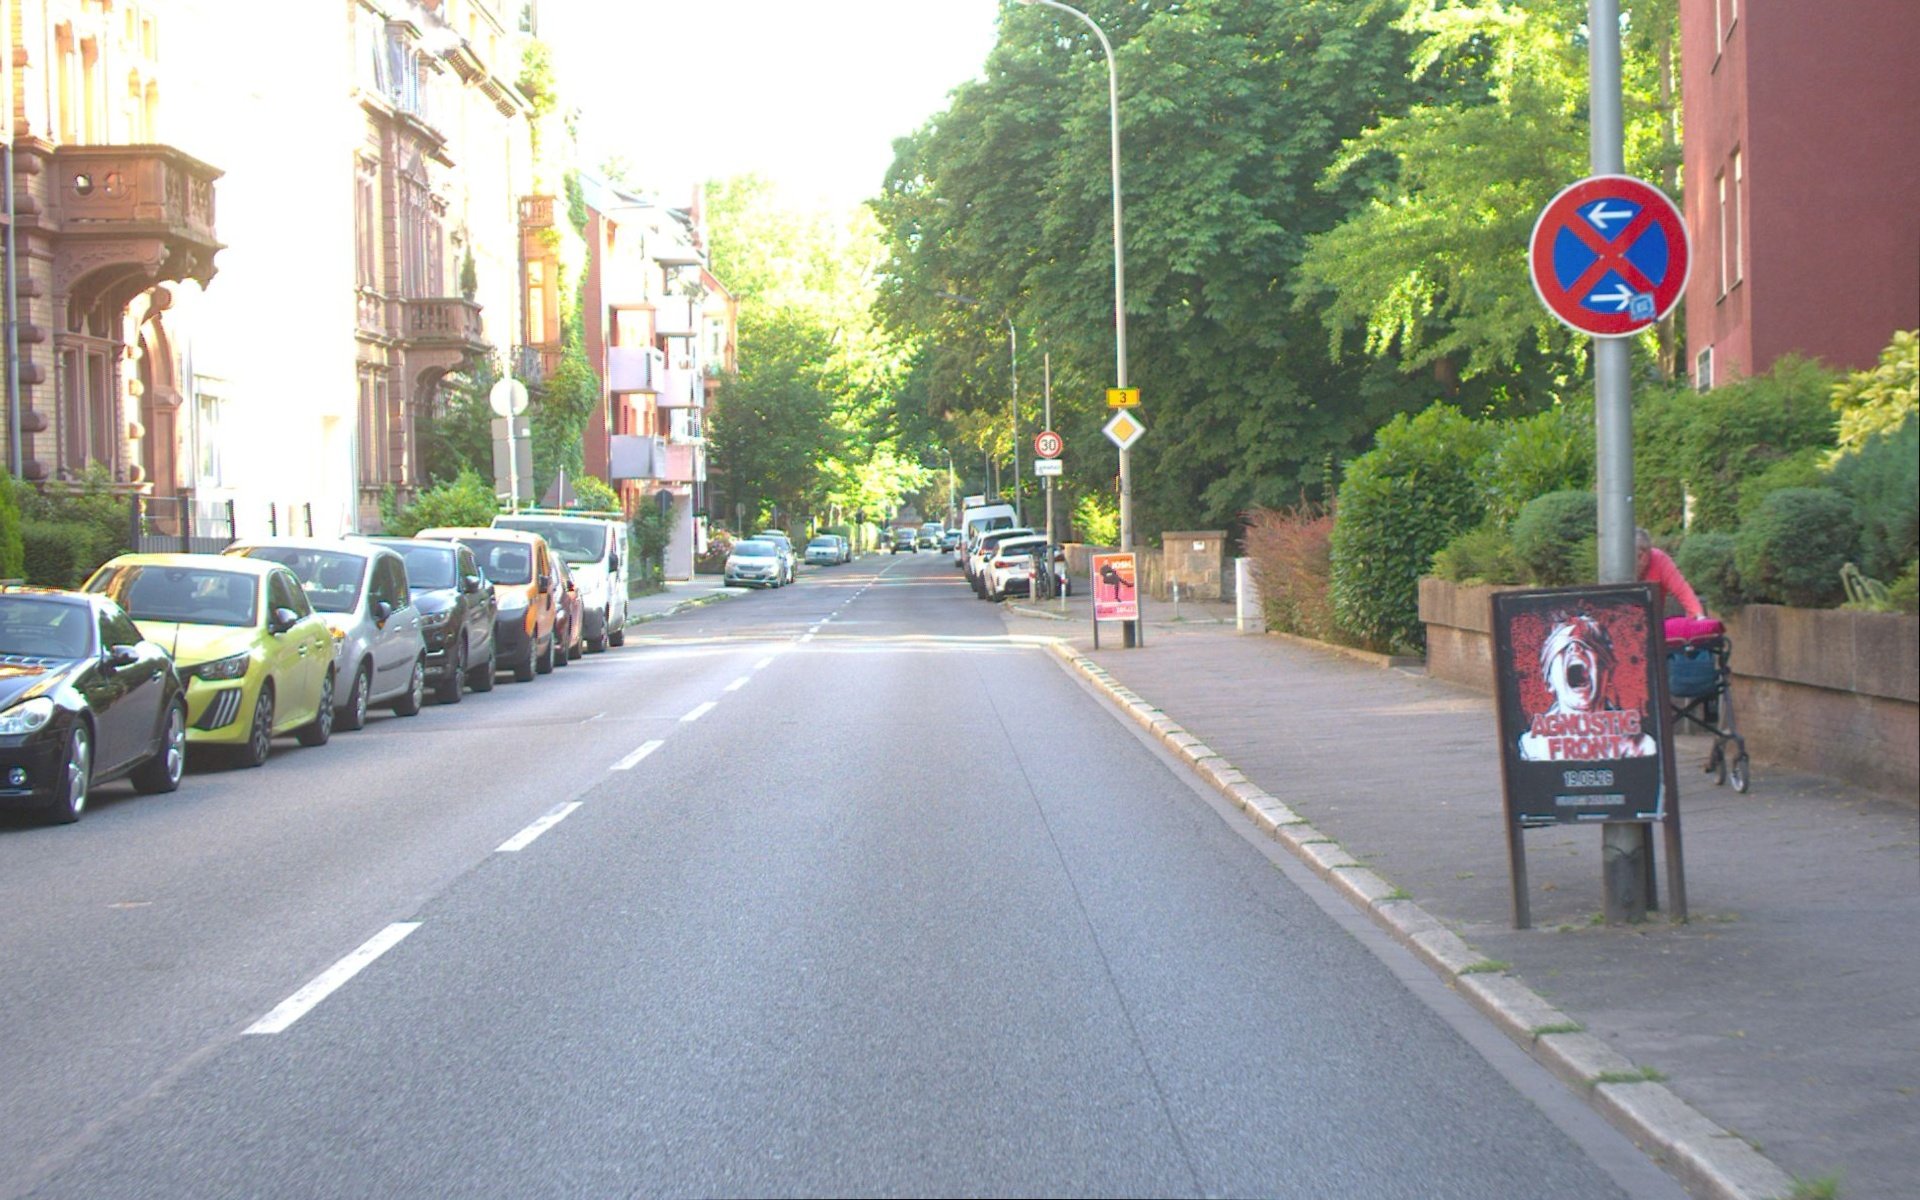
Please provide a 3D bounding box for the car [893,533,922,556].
[{"bbox_3d":[-3.659,-3.884,239.732,1.993,1.486,4.471,-2,2,-1],"label":"car"}]

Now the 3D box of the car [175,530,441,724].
[{"bbox_3d":[-5.670,0.184,30.256,1.702,1.578,3.635,0,1,-1],"label":"car"}]

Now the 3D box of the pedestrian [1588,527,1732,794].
[{"bbox_3d":[3.760,0.311,18.494,0.597,1.398,0.668,0,2,-2],"label":"pedestrian"}]

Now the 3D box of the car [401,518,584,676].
[{"bbox_3d":[-5.393,-0.081,40.014,1.702,1.732,3.857,0,1,-2],"label":"car"}]

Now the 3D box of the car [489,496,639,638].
[{"bbox_3d":[-5.810,-0.523,50.878,1.792,2.003,4.698,0,1,-2],"label":"car"}]

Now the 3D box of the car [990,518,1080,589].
[{"bbox_3d":[1.730,-1.103,79.879,1.993,1.512,4.000,-2,2,1],"label":"car"}]

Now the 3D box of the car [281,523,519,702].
[{"bbox_3d":[-5.667,0.071,35.276,1.702,1.702,4.441,0,1,0],"label":"car"}]

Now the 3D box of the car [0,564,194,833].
[{"bbox_3d":[-5.716,0.501,20.121,1.702,1.362,3.860,0,1,-2],"label":"car"}]

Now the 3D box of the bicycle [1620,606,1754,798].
[{"bbox_3d":[3.783,0.527,17.904,0.566,0.967,0.492,0,2,-2],"label":"bicycle"}]

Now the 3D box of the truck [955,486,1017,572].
[{"bbox_3d":[0.905,-2.518,120.894,1.993,2.887,4.471,-2,2,-1],"label":"truck"}]

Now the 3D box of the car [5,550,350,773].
[{"bbox_3d":[-5.631,0.413,25.199,1.702,1.498,4.073,0,0,-2],"label":"car"}]

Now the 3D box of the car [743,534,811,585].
[{"bbox_3d":[-5.954,-1.344,112.061,1.993,1.486,4.471,-2,2,-1],"label":"car"}]

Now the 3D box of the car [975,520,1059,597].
[{"bbox_3d":[1.403,-1.051,84.760,1.993,1.731,4.000,-2,2,1],"label":"car"}]

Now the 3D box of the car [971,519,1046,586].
[{"bbox_3d":[1.367,-1.340,96.128,1.993,1.731,4.000,-2,2,1],"label":"car"}]

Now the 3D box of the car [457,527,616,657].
[{"bbox_3d":[-5.540,-0.141,45.375,1.702,1.614,4.118,0,1,-2],"label":"car"}]

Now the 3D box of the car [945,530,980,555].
[{"bbox_3d":[0.136,-3.776,226.575,1.993,1.486,4.471,-2,2,-4],"label":"car"}]

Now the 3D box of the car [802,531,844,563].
[{"bbox_3d":[-7.119,-2.783,178.976,1.993,1.486,4.471,-2,2,-1],"label":"car"}]
